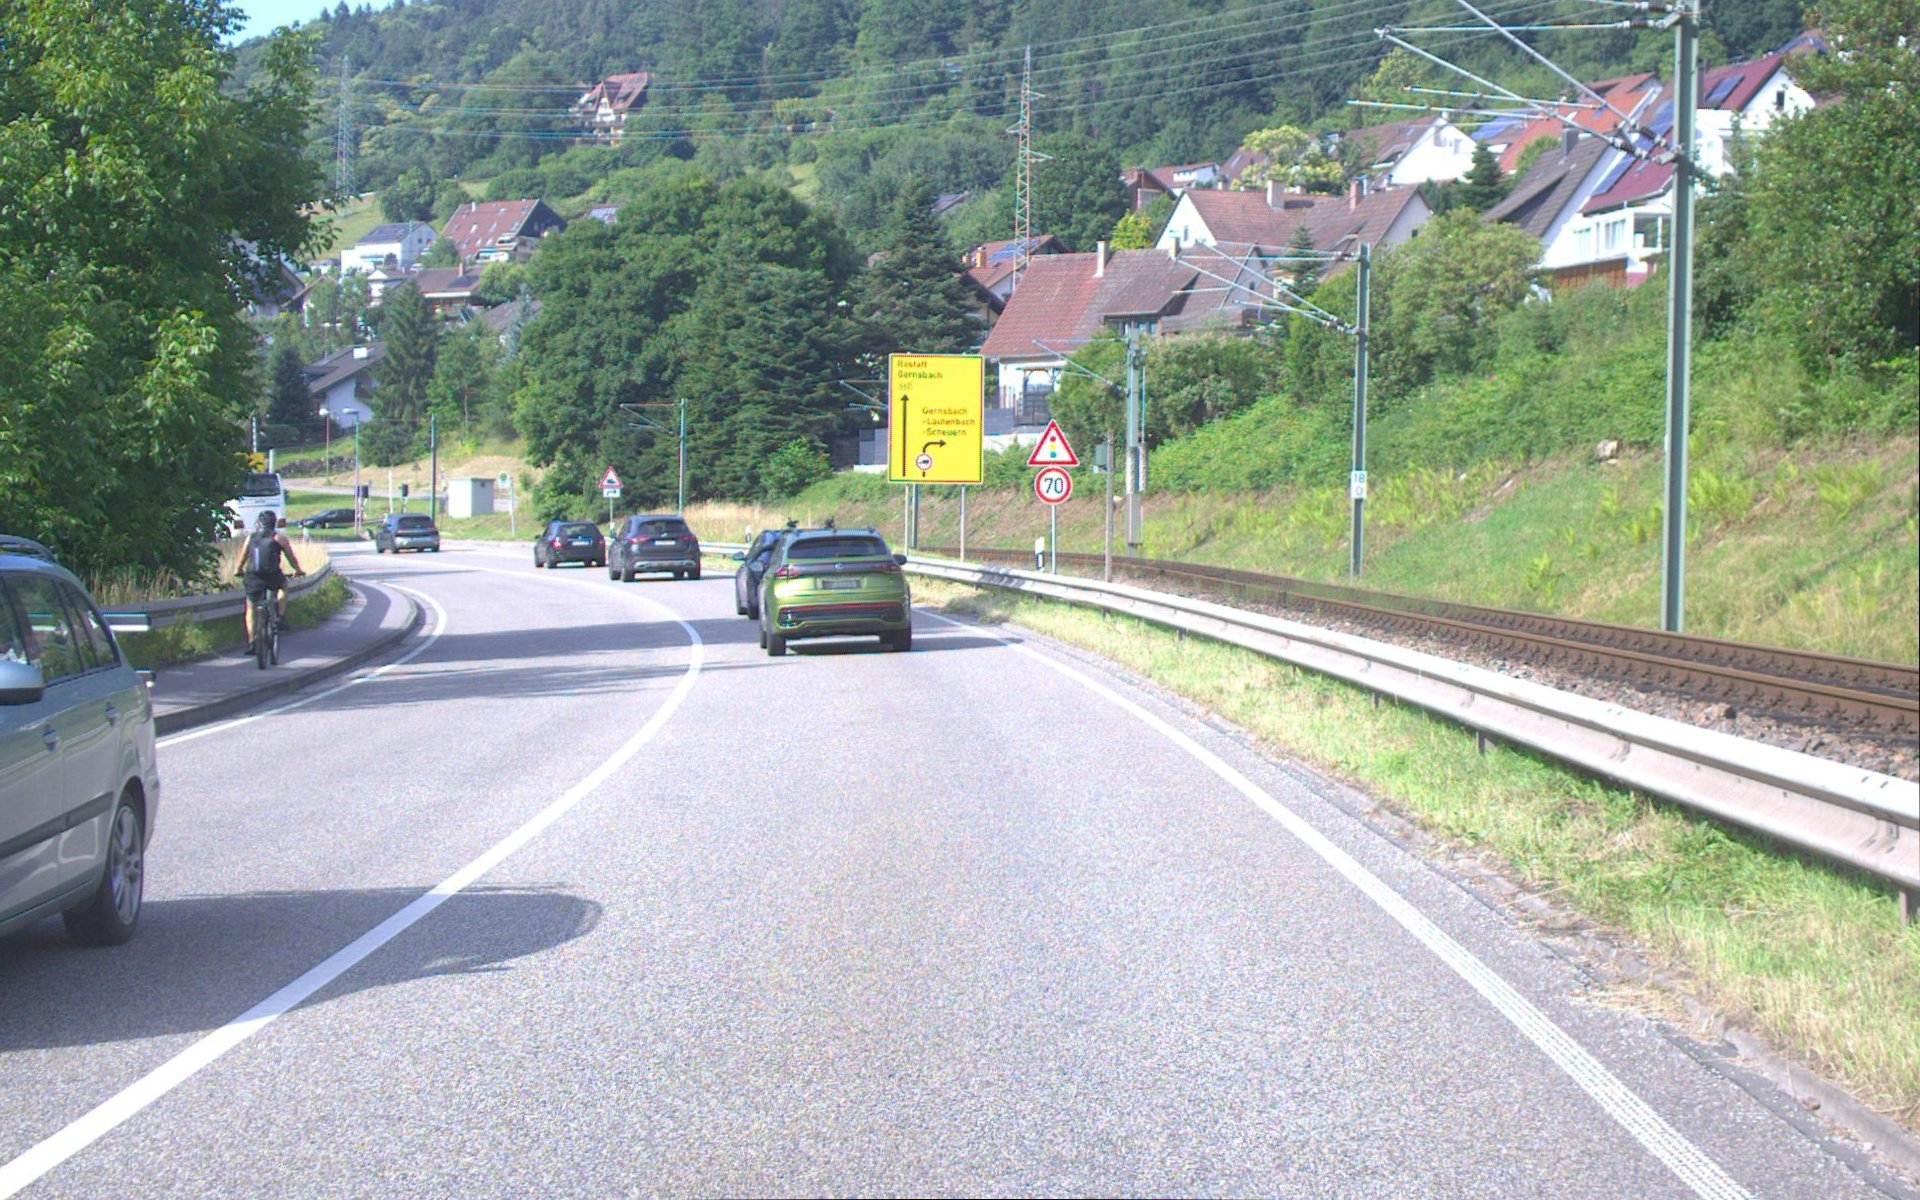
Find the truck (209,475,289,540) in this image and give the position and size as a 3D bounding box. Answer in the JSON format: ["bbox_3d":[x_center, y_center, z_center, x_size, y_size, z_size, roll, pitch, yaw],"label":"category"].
[{"bbox_3d":[-35.139,-4.590,169.716,2.711,3.073,6.111,1,2,-23],"label":"truck"}]

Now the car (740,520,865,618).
[{"bbox_3d":[-2.635,-0.541,56.740,1.666,1.554,4.001,0,1,-8],"label":"car"}]

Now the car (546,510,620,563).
[{"bbox_3d":[-11.662,-1.972,106.221,1.848,1.521,3.663,-2,2,-12],"label":"car"}]

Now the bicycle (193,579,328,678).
[{"bbox_3d":[-7.994,0.314,39.371,0.558,1.042,2.228,3,2,14],"label":"bicycle"}]

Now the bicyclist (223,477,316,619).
[{"bbox_3d":[-7.912,-0.601,39.395,0.558,1.581,1.035,3,2,17],"label":"bicyclist"}]

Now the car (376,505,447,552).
[{"bbox_3d":[-22.411,-2.933,140.355,2.063,1.805,4.001,-2,2,-20],"label":"car"}]

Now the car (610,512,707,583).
[{"bbox_3d":[-7.546,-1.329,85.789,1.879,1.681,4.001,2,1,-12],"label":"car"}]

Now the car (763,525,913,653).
[{"bbox_3d":[-1.501,-0.172,41.990,1.714,1.450,4.001,-1,1,-2],"label":"car"}]

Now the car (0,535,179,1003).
[{"bbox_3d":[-3.830,0.522,11.488,1.577,1.474,4.000,0,1,-1],"label":"car"}]
